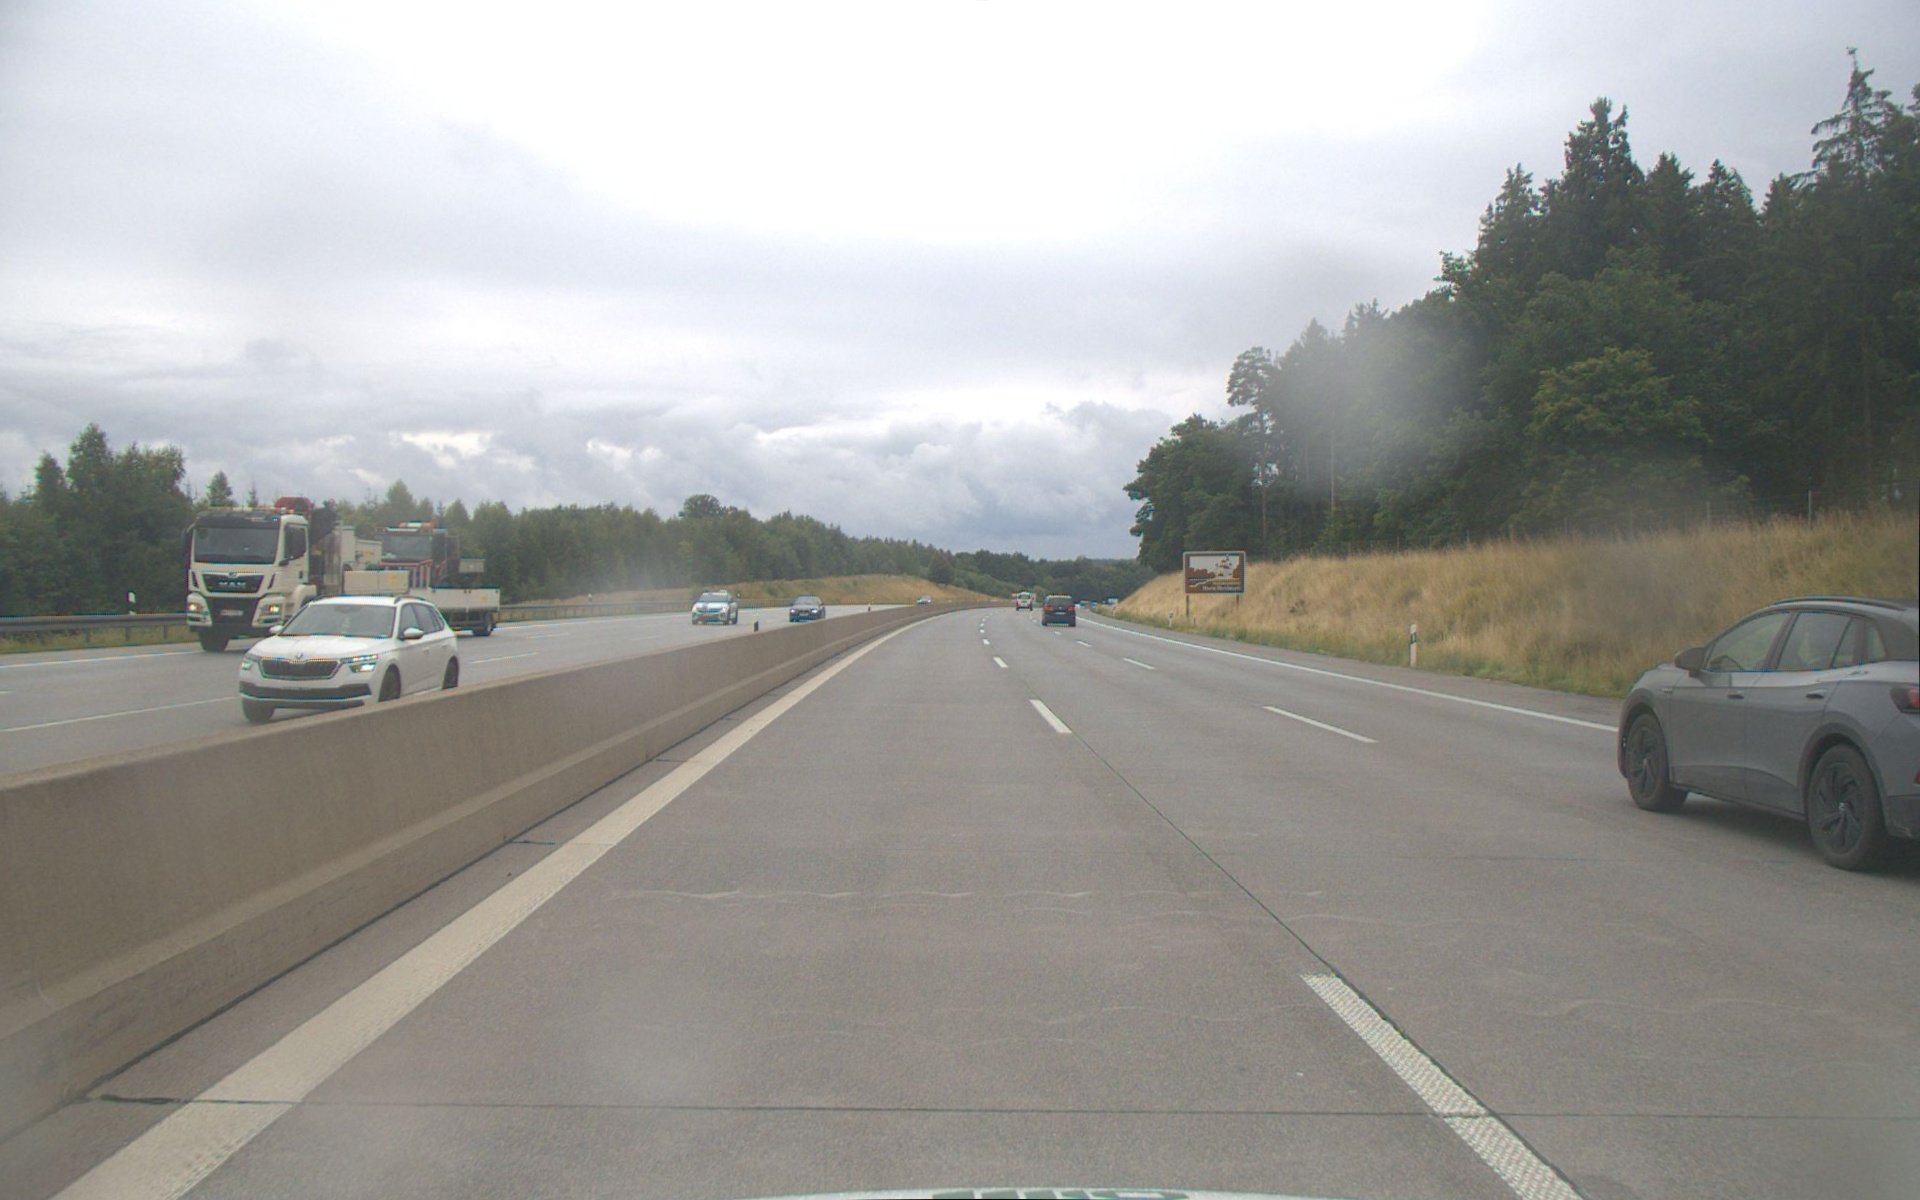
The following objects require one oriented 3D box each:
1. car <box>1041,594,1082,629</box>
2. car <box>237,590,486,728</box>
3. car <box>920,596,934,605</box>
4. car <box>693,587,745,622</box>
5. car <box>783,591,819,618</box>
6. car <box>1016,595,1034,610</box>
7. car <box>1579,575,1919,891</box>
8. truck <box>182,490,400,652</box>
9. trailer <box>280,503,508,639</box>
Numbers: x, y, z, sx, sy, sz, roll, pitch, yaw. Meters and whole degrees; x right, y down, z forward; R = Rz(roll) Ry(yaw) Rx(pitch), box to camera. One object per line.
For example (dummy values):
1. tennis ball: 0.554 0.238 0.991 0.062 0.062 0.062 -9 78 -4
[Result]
1. car: 5.674 0.623 92.980 1.750 1.777 3.912 -2 2 -4
2. car: -7.695 0.683 21.705 1.680 1.445 4.213 3 2 0
3. car: -4.738 0.071 237.256 1.731 1.253 3.955 2 1 1
4. car: -11.834 0.199 81.478 1.726 1.614 4.758 2 1 1
5. car: -8.888 0.278 92.652 1.727 1.289 4.491 -1 -2 -2
6. car: 7.498 0.279 190.367 1.804 1.526 3.999 -2 2 -2
7. car: 6.203 0.719 11.340 1.859 1.719 5.266 1 1 -1
8. truck: -16.713 -0.696 41.950 2.533 3.716 7.659 0 0 -1
9. trailer: -16.847 -0.762 50.610 2.534 3.605 13.720 0 0 -1
